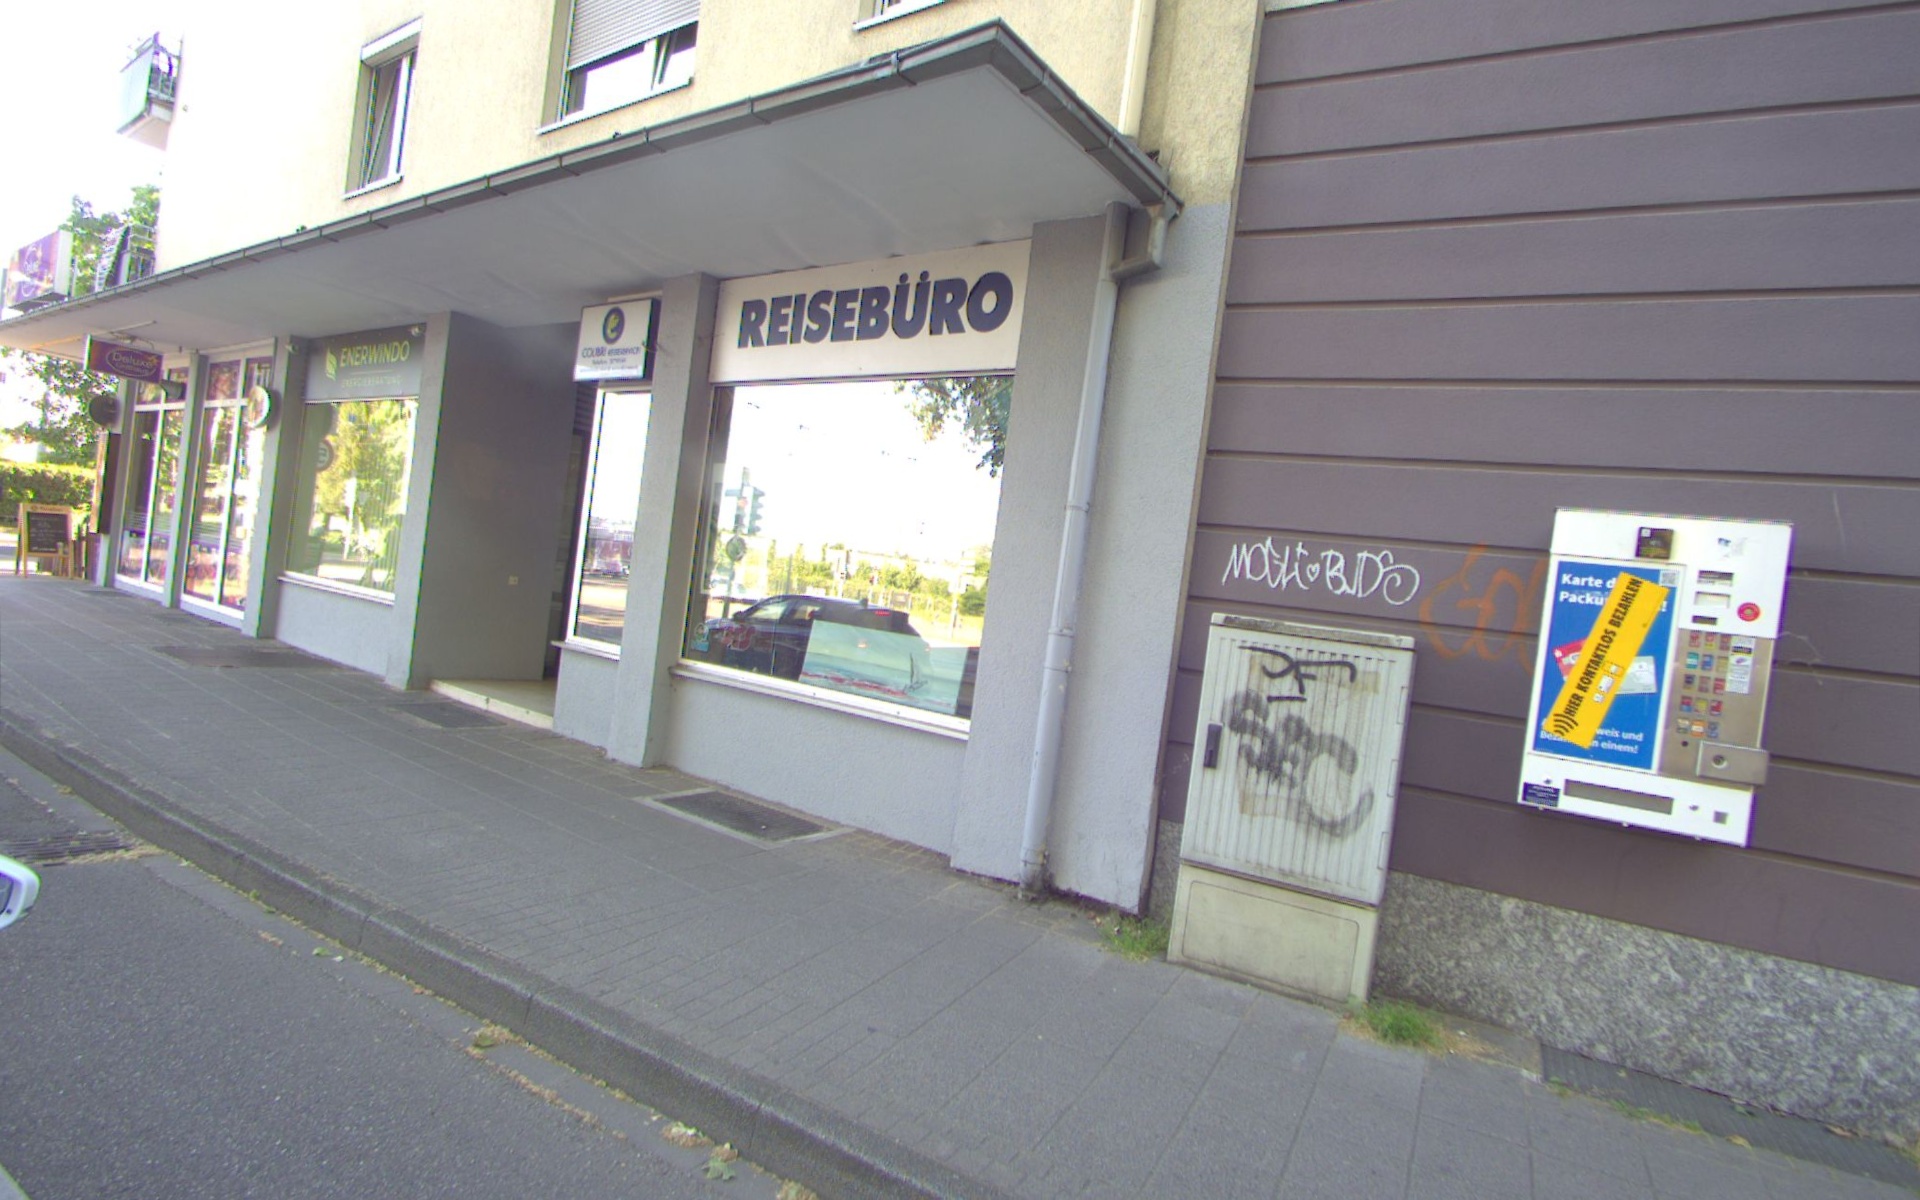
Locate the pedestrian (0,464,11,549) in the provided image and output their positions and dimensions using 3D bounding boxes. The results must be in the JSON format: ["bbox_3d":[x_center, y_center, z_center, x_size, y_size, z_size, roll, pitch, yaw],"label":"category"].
[{"bbox_3d":[-18.961,-1.742,19.461,0.630,1.841,0.738,8,-1,-38],"label":"pedestrian"}]
